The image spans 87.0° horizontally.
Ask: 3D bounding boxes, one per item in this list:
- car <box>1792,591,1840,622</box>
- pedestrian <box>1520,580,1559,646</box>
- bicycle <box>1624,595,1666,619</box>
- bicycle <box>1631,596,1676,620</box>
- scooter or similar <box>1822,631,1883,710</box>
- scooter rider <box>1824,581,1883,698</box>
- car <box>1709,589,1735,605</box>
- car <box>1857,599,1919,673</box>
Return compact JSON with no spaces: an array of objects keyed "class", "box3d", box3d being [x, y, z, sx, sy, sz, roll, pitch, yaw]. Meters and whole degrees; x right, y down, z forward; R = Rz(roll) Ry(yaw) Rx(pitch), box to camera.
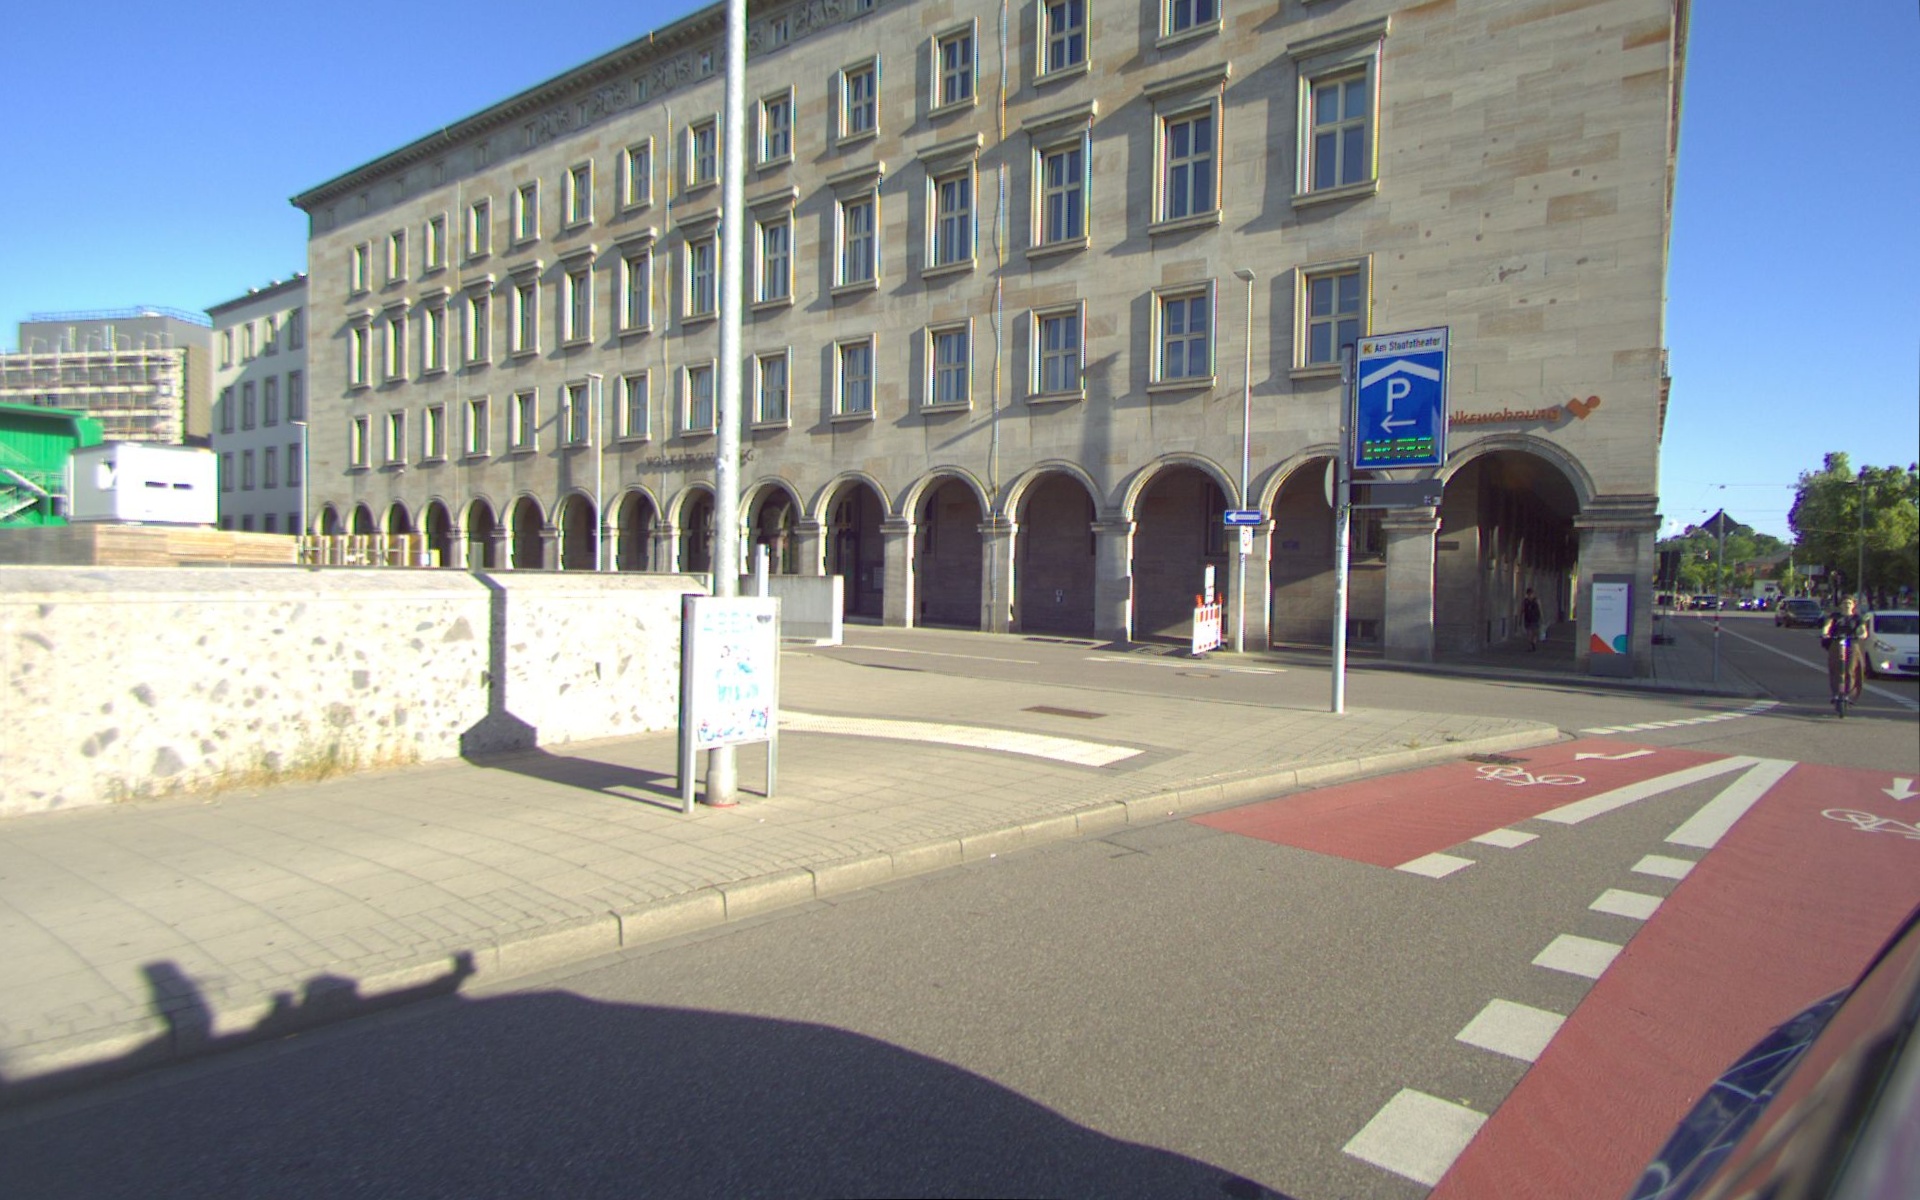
[{"class":"car","box3d":[47.624,0.315,56.361,1.724,1.659,3.949,0,1,36]},{"class":"pedestrian","box3d":[14.595,0.316,25.486,0.773,1.589,0.941,2,1,33]},{"class":"bicycle","box3d":[32.967,0.357,48.704,1.677,1.063,0.613,2,2,-12]},{"class":"bicycle","box3d":[34.323,0.392,50.099,1.693,1.063,0.524,3,2,21]},{"class":"scooter or similar","box3d":[13.078,1.008,14.854,0.554,1.044,1.103,2,2,37]},{"class":"scooter rider","box3d":[13.037,0.551,14.785,0.560,1.652,0.641,2,1,38]},{"class":"car","box3d":[81.698,-0.358,108.545,1.987,1.593,4.492,2,2,35]},{"class":"car","box3d":[21.330,0.751,22.539,1.670,1.482,3.716,0,1,36]}]
